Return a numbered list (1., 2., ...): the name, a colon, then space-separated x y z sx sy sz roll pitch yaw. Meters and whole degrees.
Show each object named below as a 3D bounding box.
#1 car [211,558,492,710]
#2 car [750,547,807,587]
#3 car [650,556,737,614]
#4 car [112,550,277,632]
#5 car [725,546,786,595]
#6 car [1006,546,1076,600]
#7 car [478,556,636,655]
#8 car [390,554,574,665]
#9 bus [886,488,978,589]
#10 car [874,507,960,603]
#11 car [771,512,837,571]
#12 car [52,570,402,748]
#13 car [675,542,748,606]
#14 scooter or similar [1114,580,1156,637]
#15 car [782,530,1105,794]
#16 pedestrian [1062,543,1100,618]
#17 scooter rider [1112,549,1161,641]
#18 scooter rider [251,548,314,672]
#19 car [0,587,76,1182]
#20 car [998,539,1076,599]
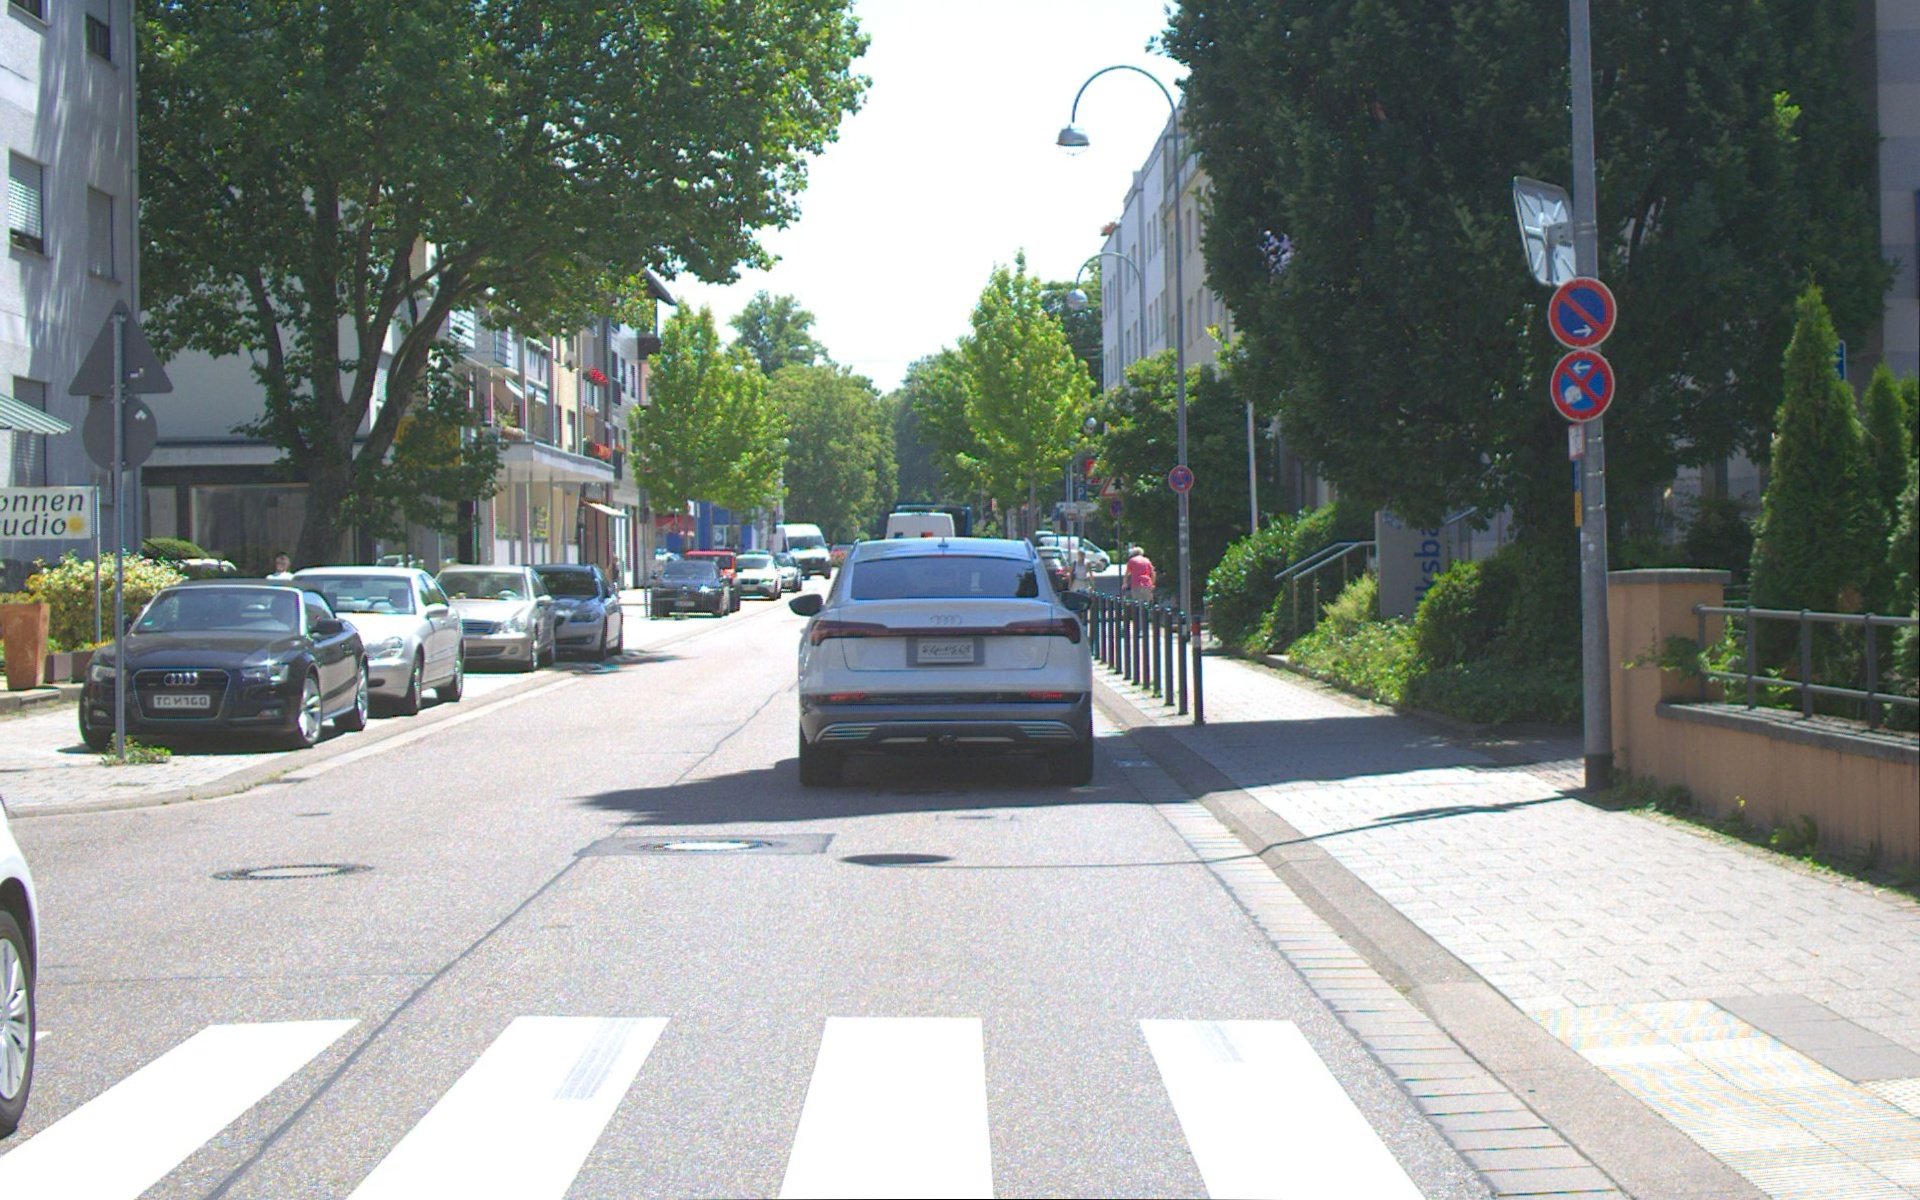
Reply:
1. car: -6.271 0.302 36.030 1.981 1.447 5.358 0 1 0
2. car: -6.808 -1.242 129.372 1.752 1.448 4.400 1 1 2
3. car: -6.857 -0.415 88.723 1.896 1.412 5.048 1 1 -1
4. car: -14.577 -0.181 65.302 1.891 1.481 3.996 -1 1 -31
5. car: -7.041 -1.025 118.507 1.752 1.612 4.401 1 1 1
6. car: 2.261 -0.759 95.896 1.896 1.433 4.544 -1 1 1
7. car: -6.225 0.042 53.649 1.981 1.447 5.151 0 1 -1
8. car: -6.575 0.095 47.754 1.981 1.447 4.868 0 1 -1
9. bus: -0.870 -2.006 114.096 2.661 3.210 7.301 1 1 2
10. car: -1.099 -1.175 90.553 2.156 2.433 5.283 1 1 0
11. car: -7.403 -2.745 162.632 2.036 2.621 7.109 -3 1 -10
12. car: -6.259 0.448 29.962 1.942 1.369 5.098 0 1 0
13. car: -6.866 -0.731 95.195 1.752 1.696 4.102 1 1 -1
14. scooter or similar: 3.017 0.140 59.396 0.663 0.960 0.754 -1 1 0
15. car: -0.156 0.359 23.438 1.993 1.627 4.000 1 1 -2
16. pedestrian: 2.689 -0.435 76.678 0.700 1.621 0.784 -4 0 -1
17. scooter rider: 3.014 -0.091 58.698 0.716 1.543 0.770 -2 1 -2
18. scooter rider: -8.744 0.126 44.381 0.588 1.570 0.877 1 1 1
19. car: -3.281 0.760 7.442 1.807 1.477 3.869 -2 1 -2
20. car: 2.260 -0.943 102.036 1.896 1.669 4.691 -2 1 -3
